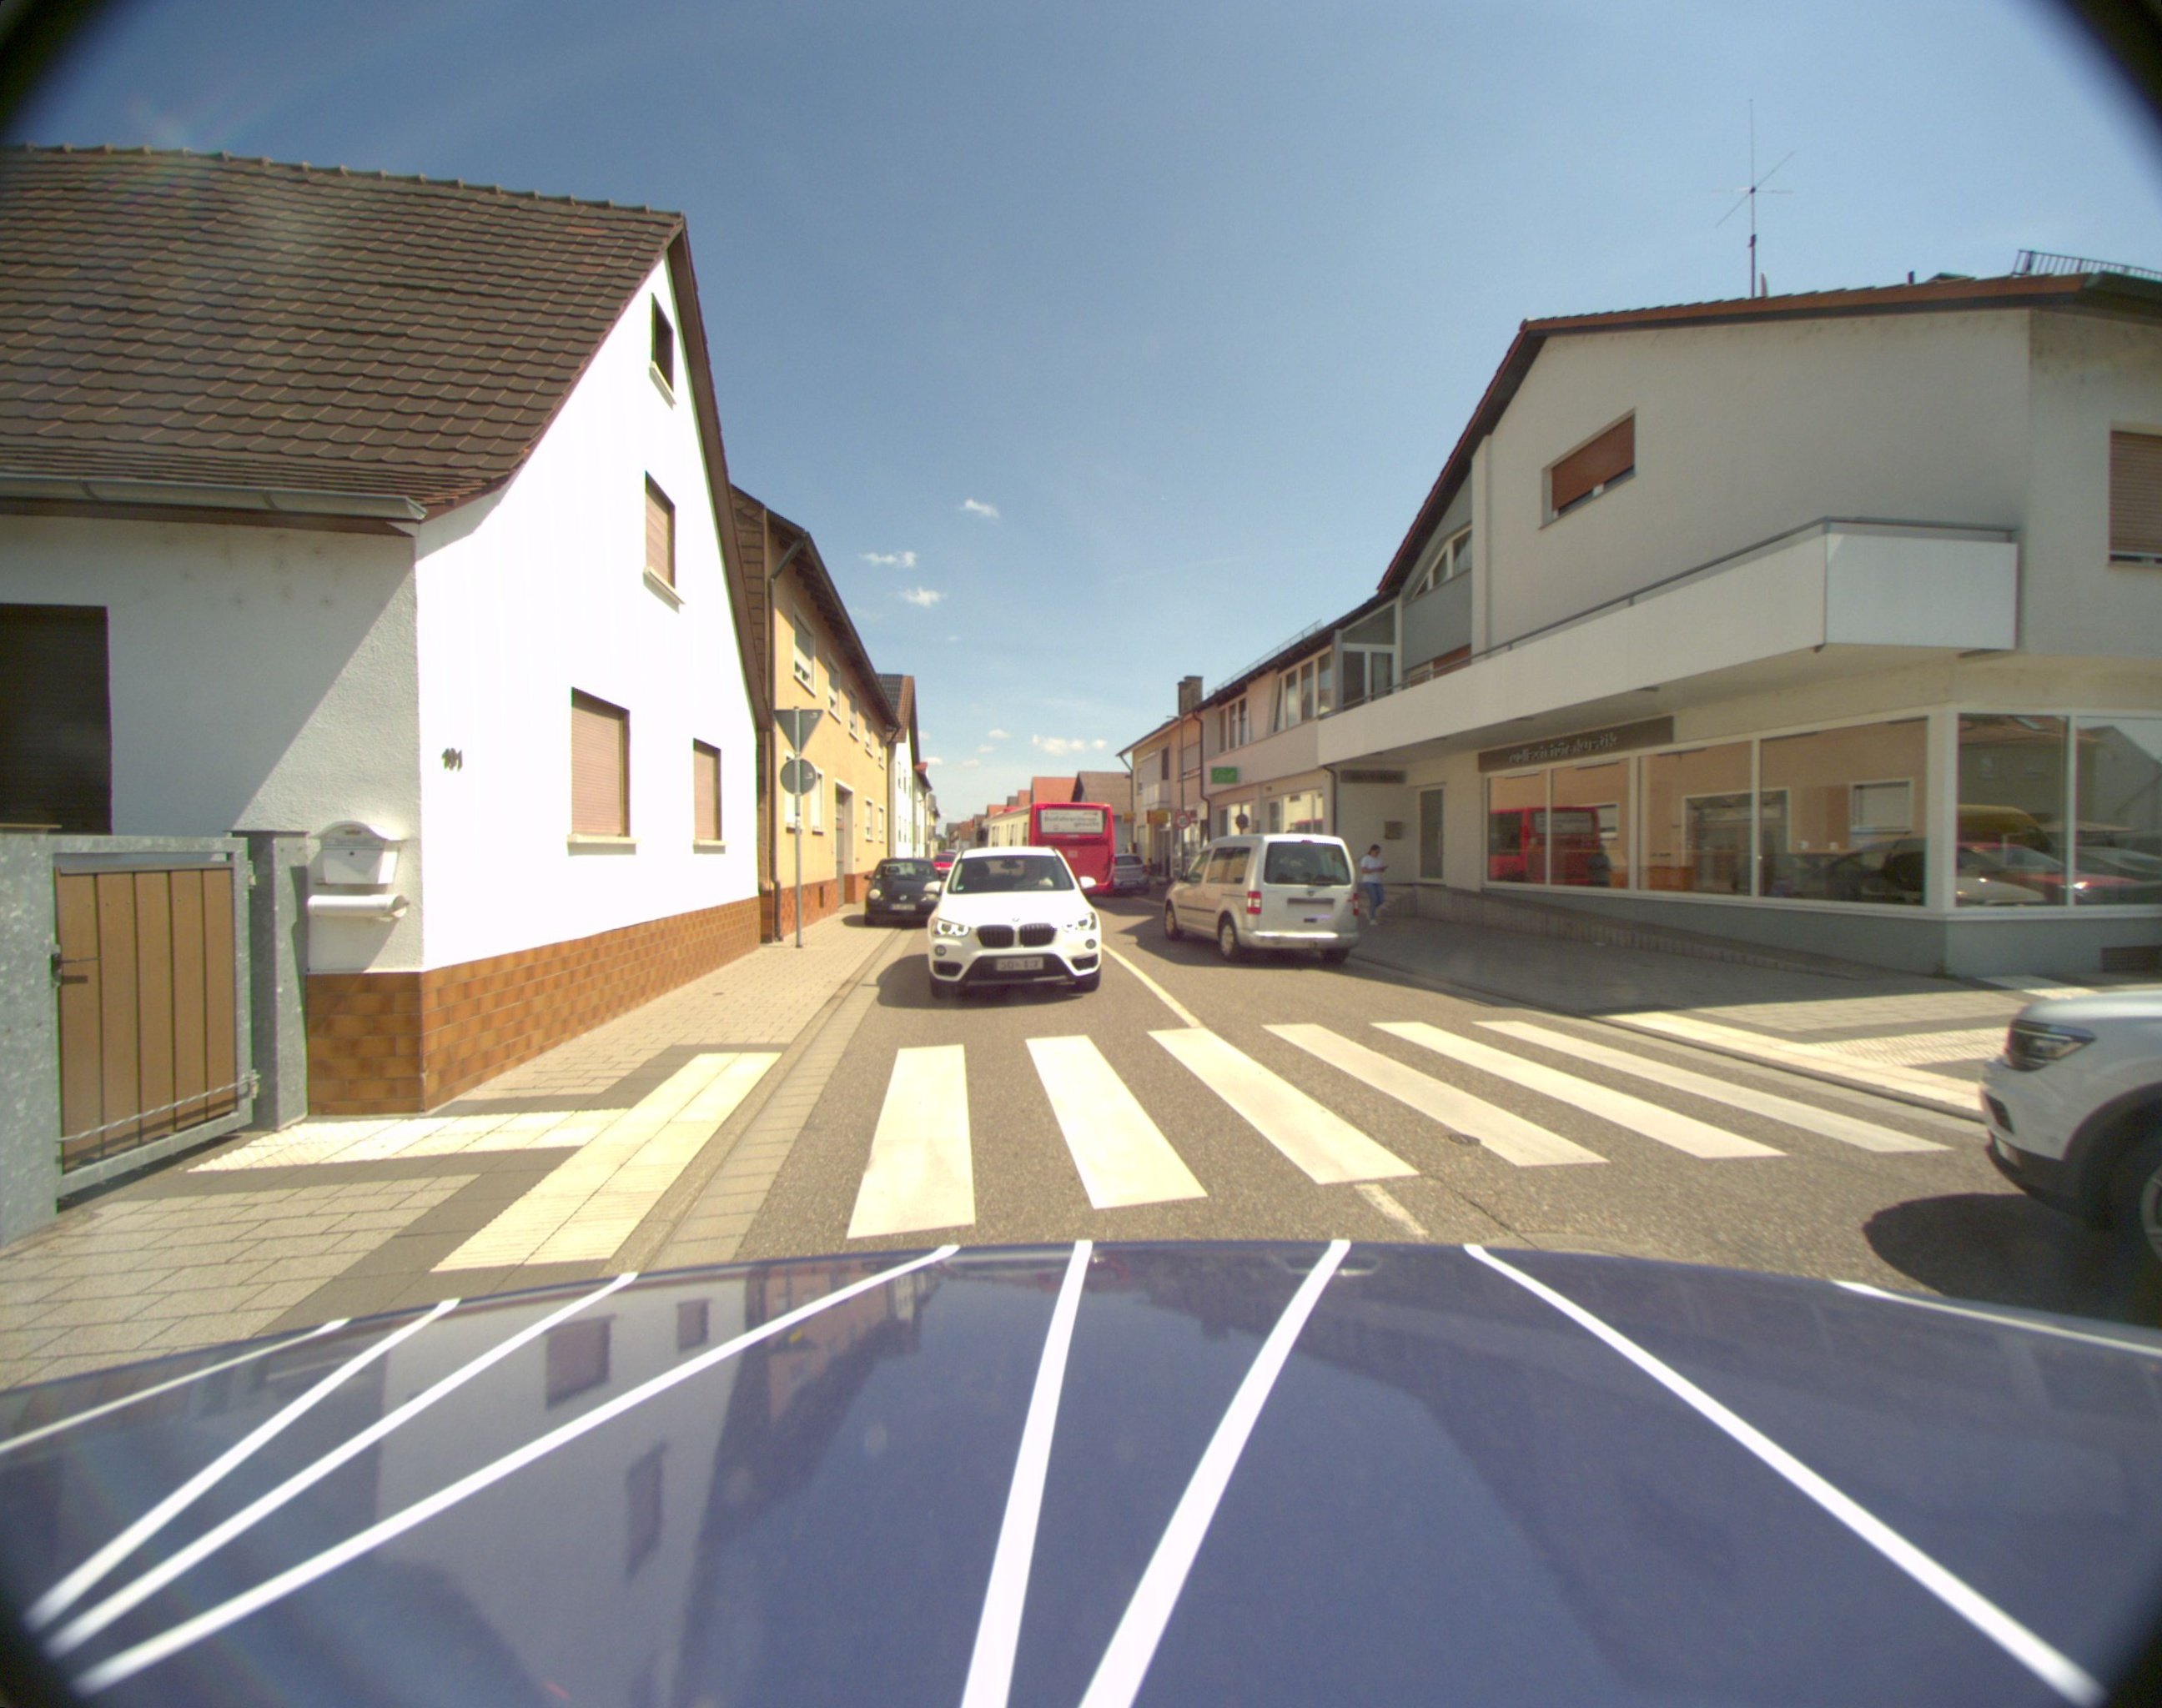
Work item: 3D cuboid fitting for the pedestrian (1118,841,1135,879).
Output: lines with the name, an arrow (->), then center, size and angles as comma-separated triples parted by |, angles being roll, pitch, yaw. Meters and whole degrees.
pedestrian -> 2.155, 0.278, 35.983 | 0.579, 1.780, 0.692 | -2, 2, -9

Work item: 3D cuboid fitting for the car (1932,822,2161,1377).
car -> 4.701, 0.786, 0.892 | 1.873, 1.700, 4.535 | 1, 0, -16

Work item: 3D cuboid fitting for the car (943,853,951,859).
car -> -31.460, 0.369, 177.928 | 1.766, 1.420, 3.848 | 0, 0, -12

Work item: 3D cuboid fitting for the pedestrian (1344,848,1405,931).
pedestrian -> 5.887, 0.689, 15.302 | 0.757, 1.575, 0.956 | -2, 2, -7

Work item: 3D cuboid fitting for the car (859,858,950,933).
car -> -3.856, 0.852, 17.082 | 1.691, 1.454, 3.626 | 2, 0, -9

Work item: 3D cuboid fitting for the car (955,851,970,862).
car -> -16.280, 0.328, 104.283 | 1.766, 1.420, 4.184 | 0, 0, -12

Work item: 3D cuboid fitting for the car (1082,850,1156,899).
car -> 1.317, 0.686, 28.110 | 1.749, 1.507, 3.995 | -4, 2, -10

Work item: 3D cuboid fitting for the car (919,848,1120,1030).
car -> -0.885, 0.791, 9.394 | 1.846, 1.636, 4.370 | -2, 1, -8

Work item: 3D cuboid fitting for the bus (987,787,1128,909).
bus -> -1.338, -0.197, 26.423 | 2.636, 3.213, 12.007 | 1, 0, -13

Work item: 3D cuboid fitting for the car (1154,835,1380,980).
car -> 2.603, 0.669, 11.878 | 1.778, 1.810, 4.437 | 1, 0, -10

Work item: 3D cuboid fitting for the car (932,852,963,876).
car -> -8.025, 0.565, 45.850 | 1.766, 1.420, 4.185 | 0, 0, -9
